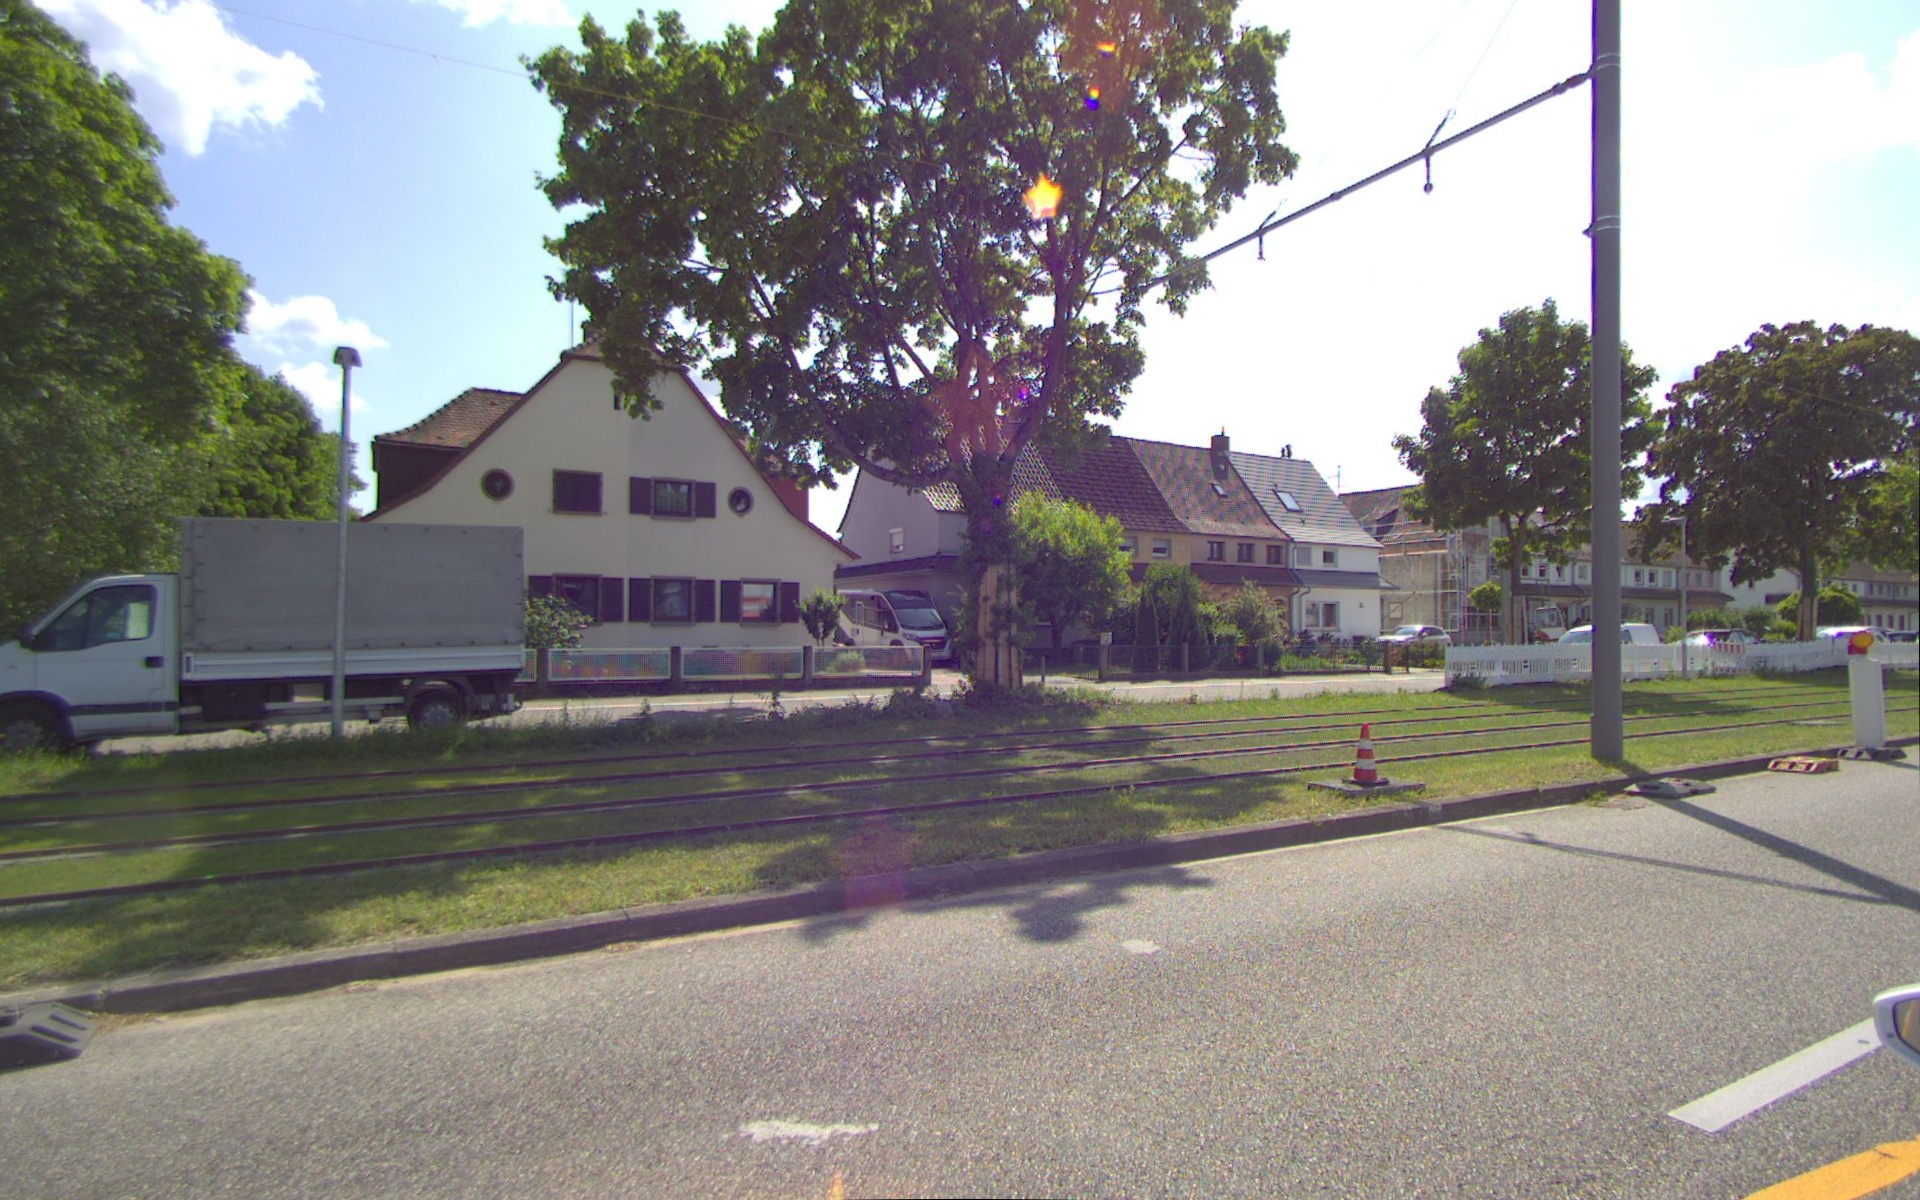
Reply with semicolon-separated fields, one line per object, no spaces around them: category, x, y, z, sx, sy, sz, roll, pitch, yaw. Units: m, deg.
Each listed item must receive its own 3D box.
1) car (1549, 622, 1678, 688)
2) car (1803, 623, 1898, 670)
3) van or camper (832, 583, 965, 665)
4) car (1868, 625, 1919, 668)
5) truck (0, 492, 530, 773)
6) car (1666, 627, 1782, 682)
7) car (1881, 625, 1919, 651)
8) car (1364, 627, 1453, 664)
car;19.497;1.601;29.957;3.814;1.841;1.691;1;-2;-30
car;34.956;1.799;39.419;3.814;1.762;1.691;1;-2;-30
van or camper;-2.355;0.903;36.647;2.224;2.745;5.963;1;-2;-33
car;40.384;1.956;42.597;3.814;1.762;1.691;1;-2;-30
truck;-8.802;0.411;12.931;5.805;3.027;1.994;1;-2;-30
car;25.741;1.796;33.823;4.006;1.762;1.691;1;-2;-30
car;66.748;2.676;70.728;4.013;1.762;1.691;1;-2;-30
car;19.884;1.989;44.476;3.814;1.614;1.691;1;-2;-30
